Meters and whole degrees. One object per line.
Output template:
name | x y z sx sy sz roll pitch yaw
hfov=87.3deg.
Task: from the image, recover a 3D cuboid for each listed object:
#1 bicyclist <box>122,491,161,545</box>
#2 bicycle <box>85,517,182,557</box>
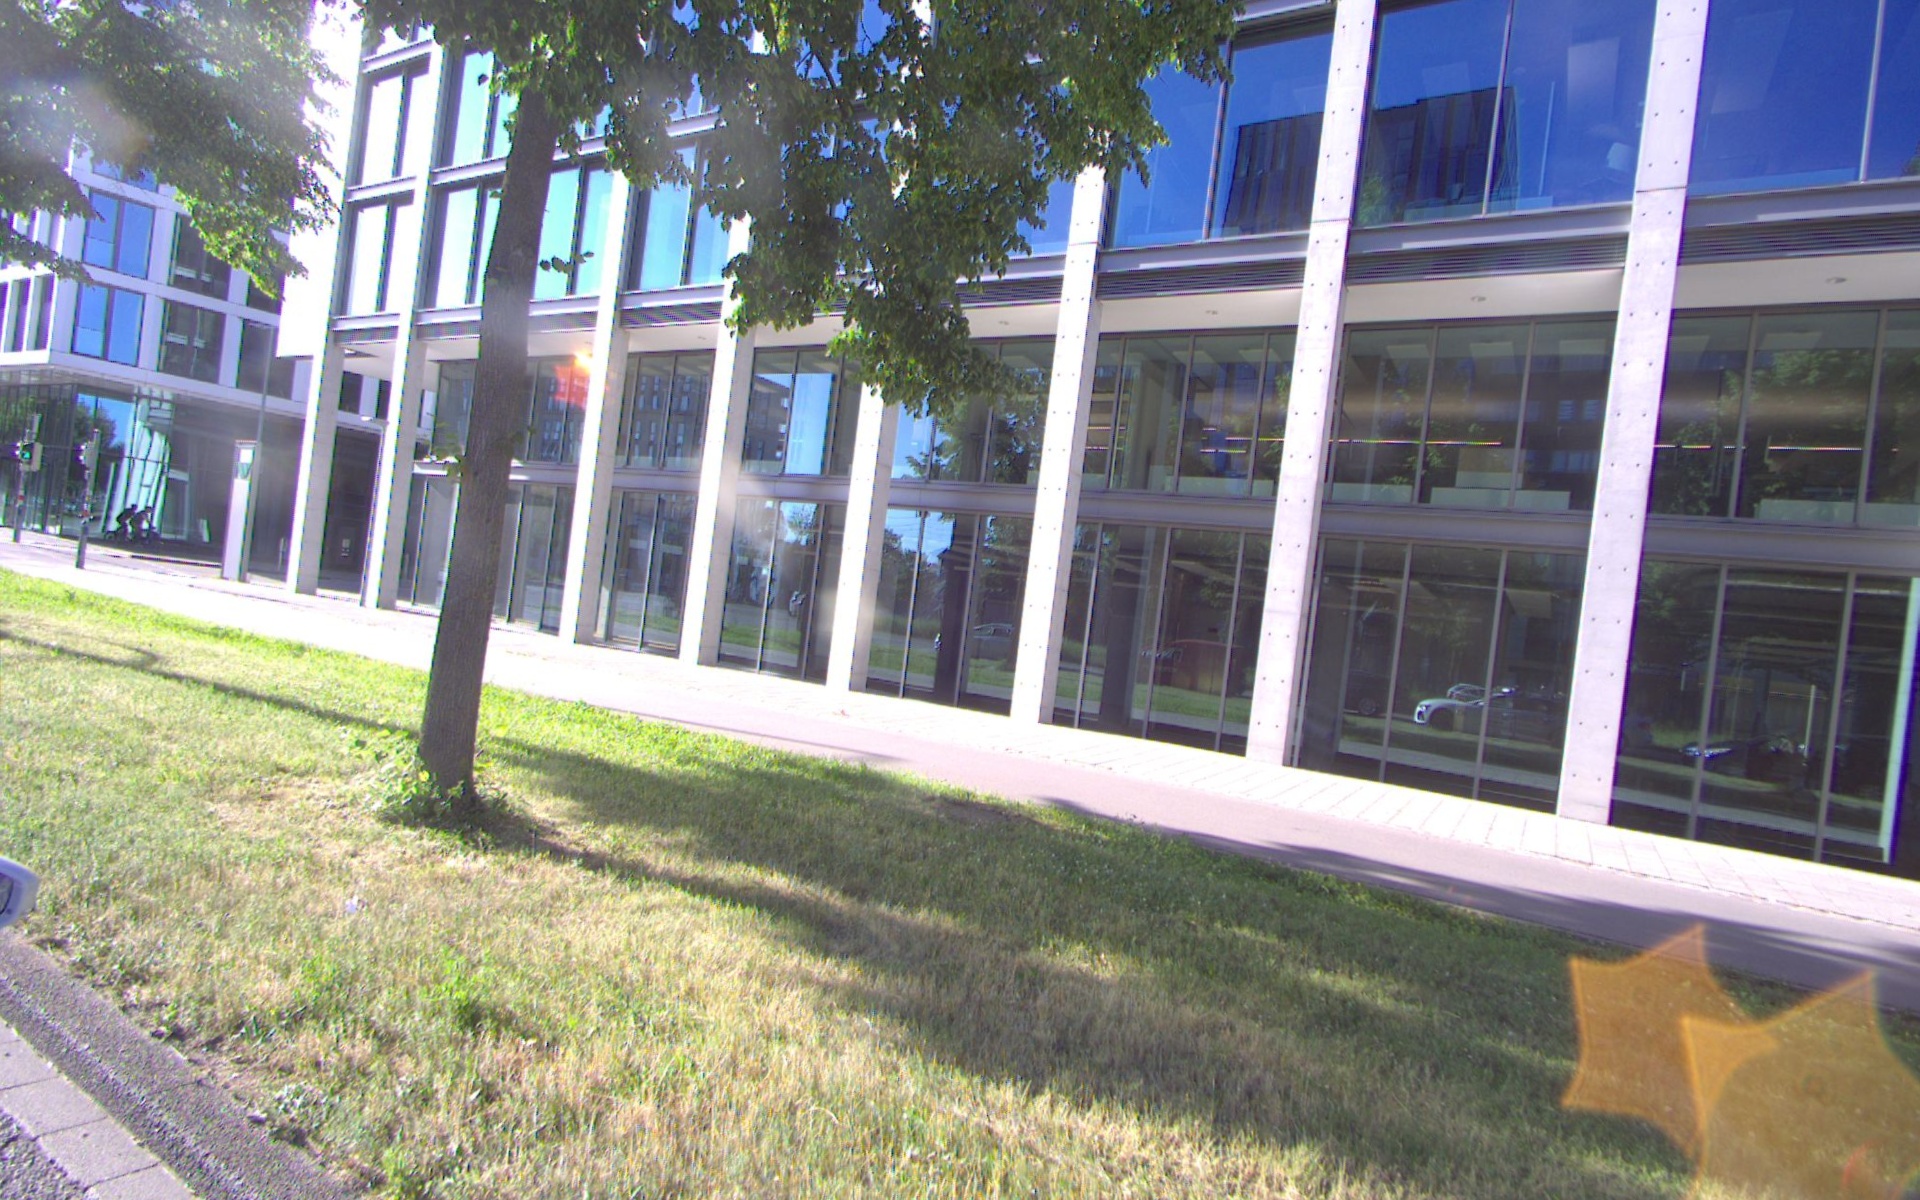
bicyclist | -34.118 -3.405 41.949 0.932 2.118 0.812 7 0 -29
bicycle | -34.347 -2.608 41.870 2.919 1.204 0.812 8 -1 -29
